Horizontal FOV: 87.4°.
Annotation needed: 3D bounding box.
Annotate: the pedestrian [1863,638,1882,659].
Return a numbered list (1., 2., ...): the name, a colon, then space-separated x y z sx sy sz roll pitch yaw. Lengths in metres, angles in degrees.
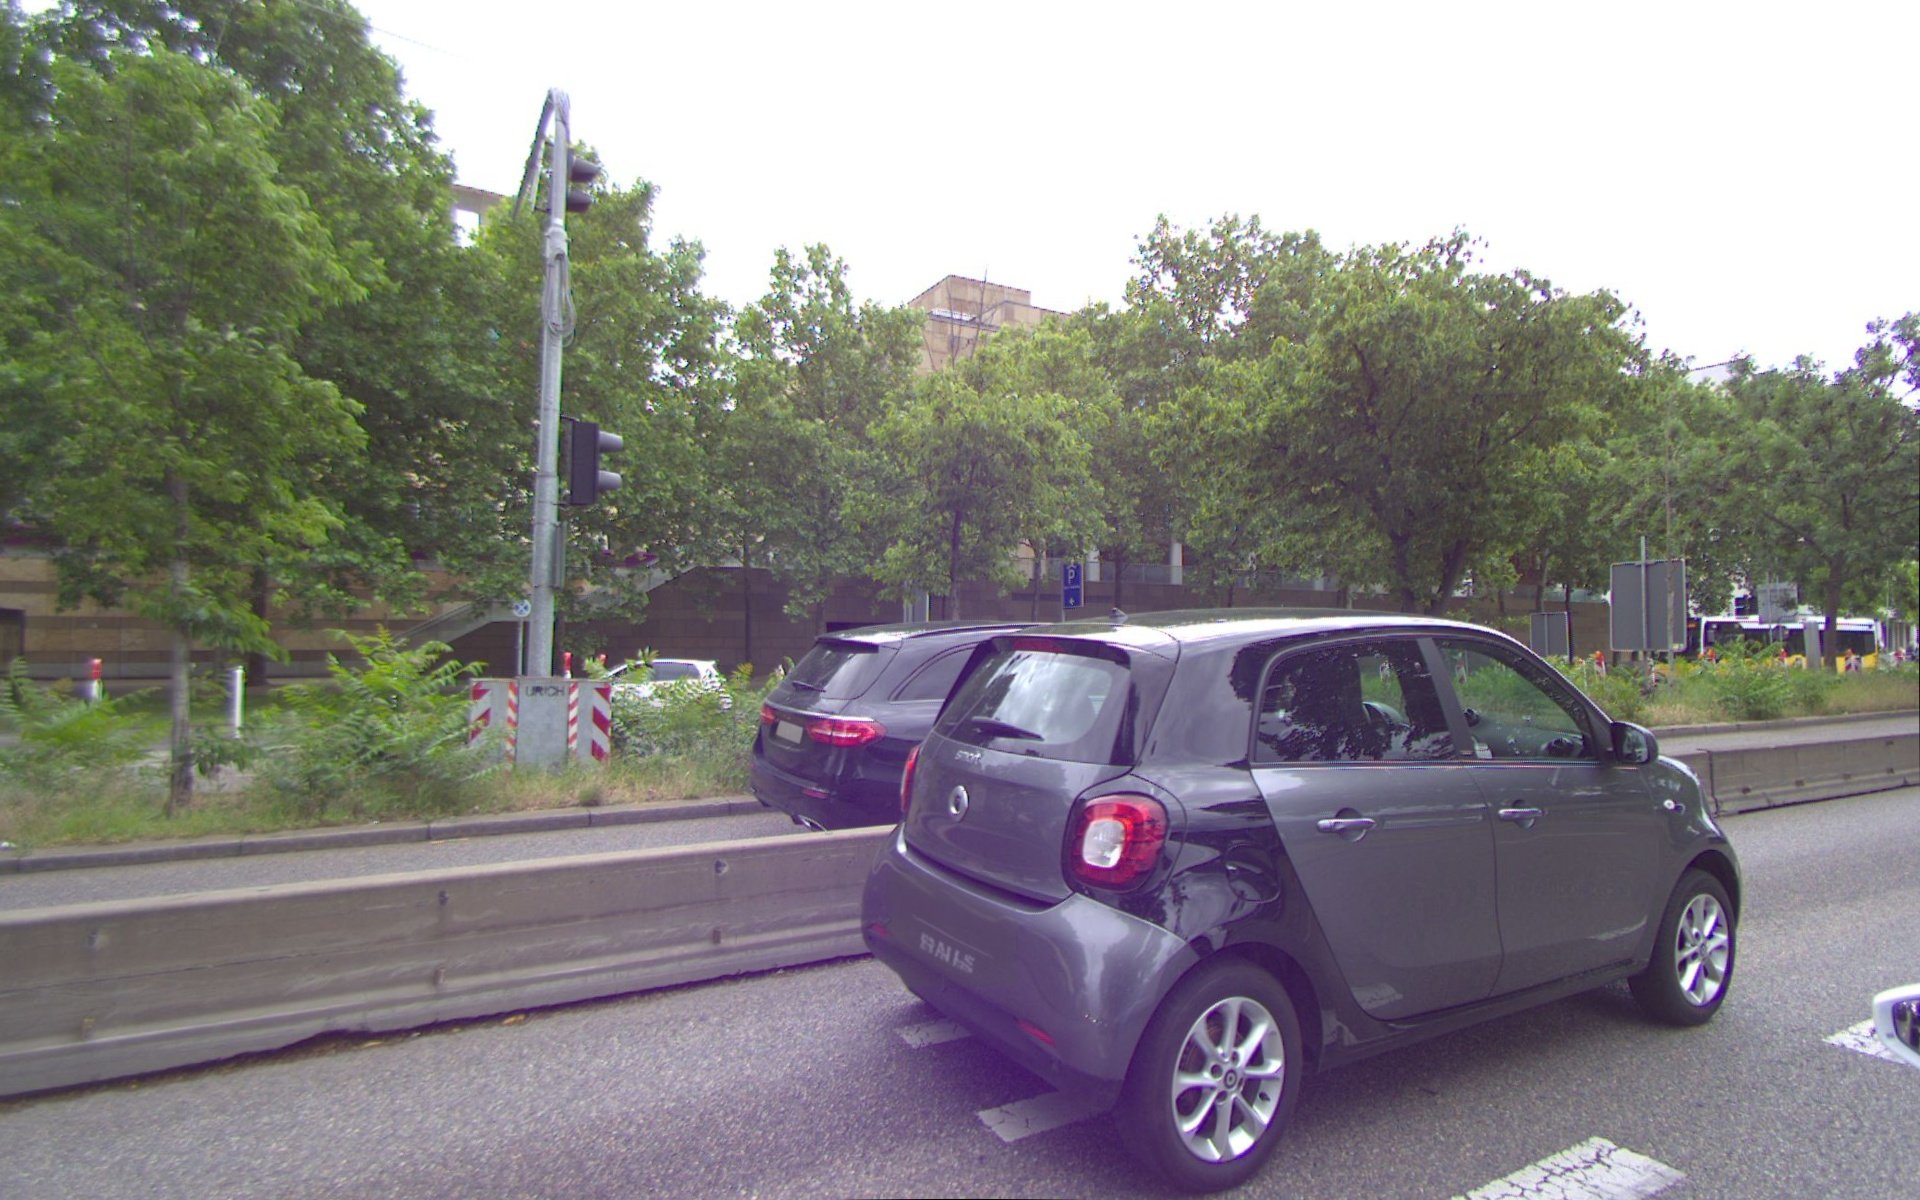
1. pedestrian: 69.808 3.713 76.865 0.865 1.577 0.598 0 -2 19

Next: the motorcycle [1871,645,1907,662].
1. motorcycle: 68.599 3.962 74.159 1.859 1.249 0.657 -1 -5 37

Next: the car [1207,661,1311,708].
1. car: 9.179 2.571 30.809 3.020 1.305 1.346 2 0 -30

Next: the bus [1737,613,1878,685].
1. bus: 42.218 2.430 50.000 7.614 3.347 2.910 2 -2 -30

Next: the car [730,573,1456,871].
1. car: 1.033 0.677 6.958 4.802 1.479 1.805 2 1 -28

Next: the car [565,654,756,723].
1. car: -6.370 1.855 21.494 3.694 1.305 1.346 2 0 -30

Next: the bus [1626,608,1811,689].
1. bus: 34.437 2.194 45.464 10.326 3.348 2.899 2 -2 -30

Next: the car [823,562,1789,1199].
1. car: 1.417 0.743 3.898 3.497 1.529 1.620 2 -1 -29
